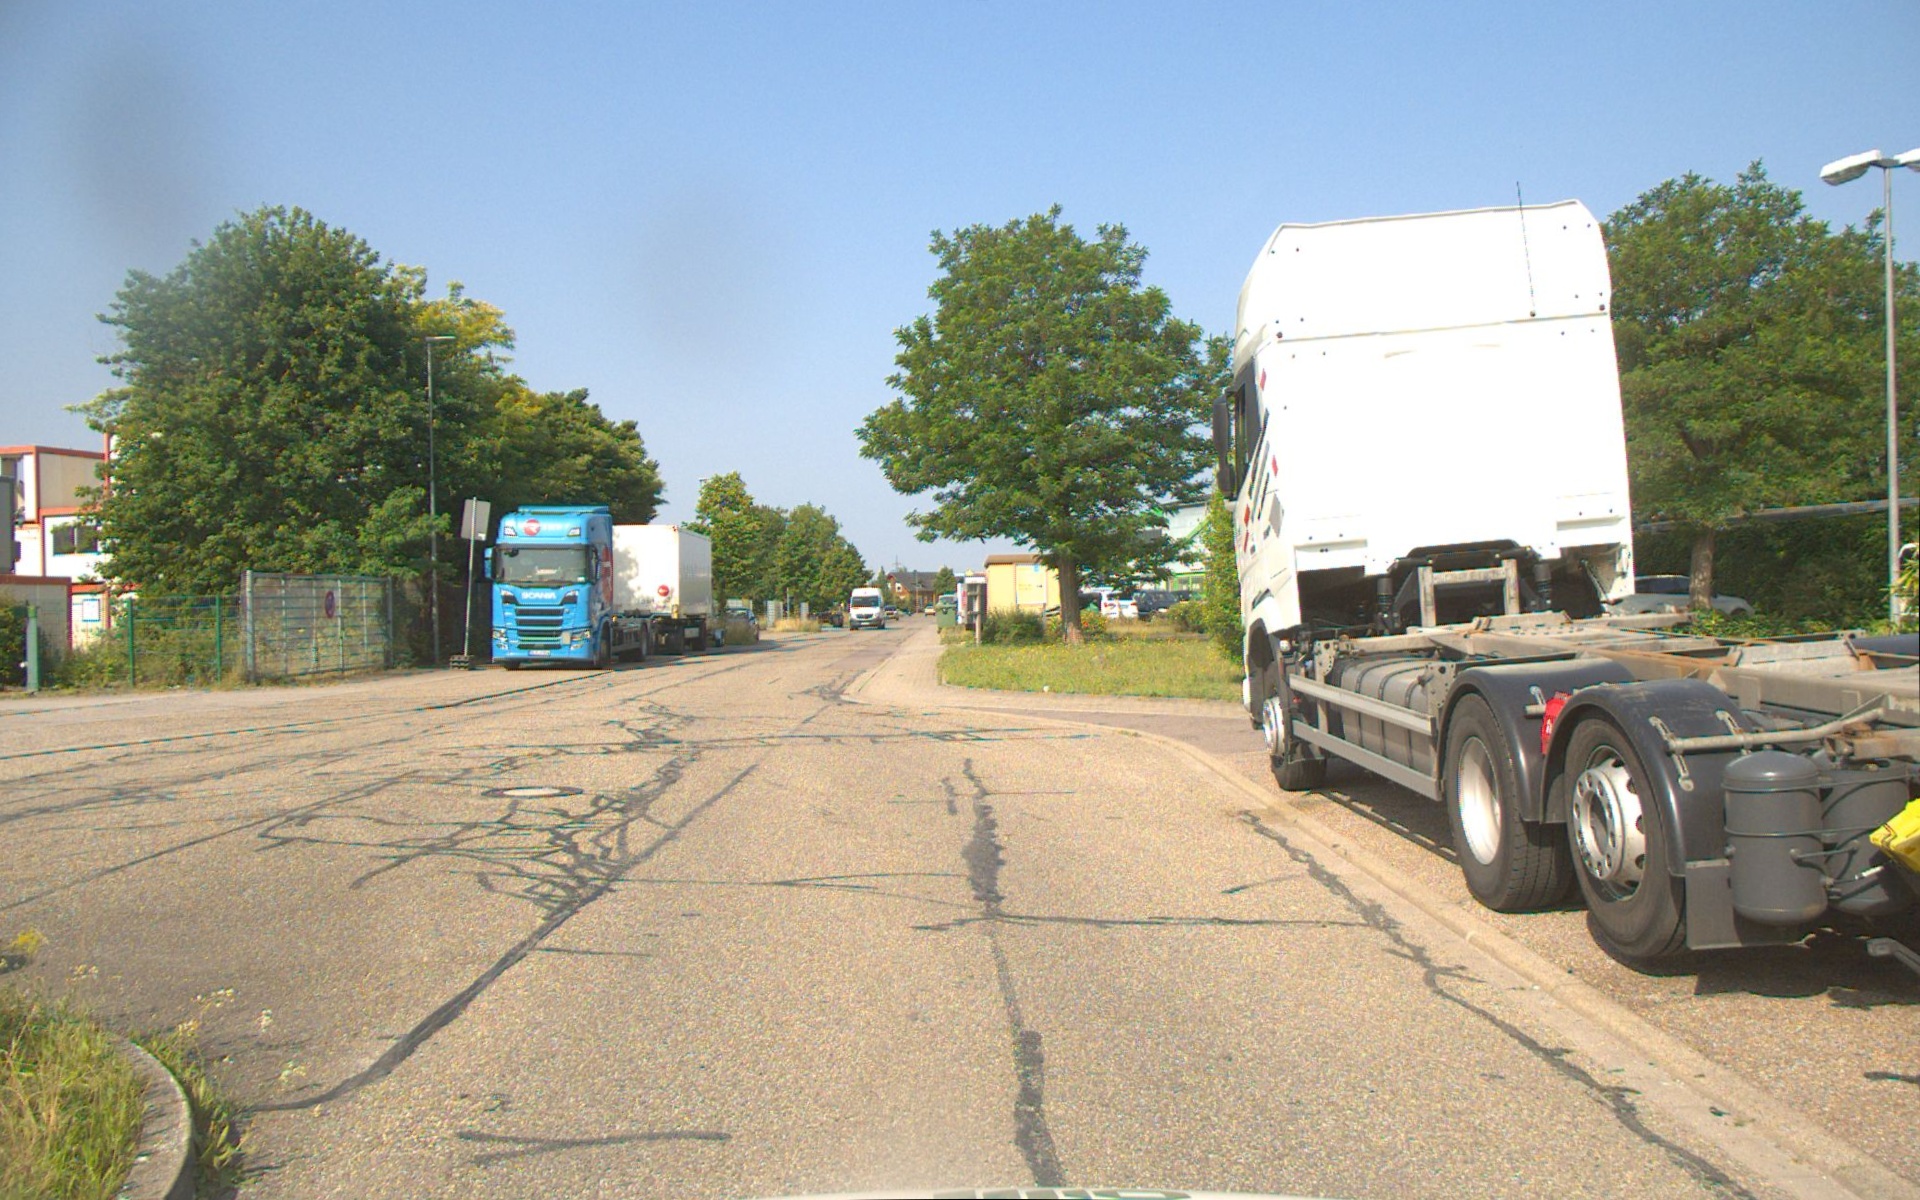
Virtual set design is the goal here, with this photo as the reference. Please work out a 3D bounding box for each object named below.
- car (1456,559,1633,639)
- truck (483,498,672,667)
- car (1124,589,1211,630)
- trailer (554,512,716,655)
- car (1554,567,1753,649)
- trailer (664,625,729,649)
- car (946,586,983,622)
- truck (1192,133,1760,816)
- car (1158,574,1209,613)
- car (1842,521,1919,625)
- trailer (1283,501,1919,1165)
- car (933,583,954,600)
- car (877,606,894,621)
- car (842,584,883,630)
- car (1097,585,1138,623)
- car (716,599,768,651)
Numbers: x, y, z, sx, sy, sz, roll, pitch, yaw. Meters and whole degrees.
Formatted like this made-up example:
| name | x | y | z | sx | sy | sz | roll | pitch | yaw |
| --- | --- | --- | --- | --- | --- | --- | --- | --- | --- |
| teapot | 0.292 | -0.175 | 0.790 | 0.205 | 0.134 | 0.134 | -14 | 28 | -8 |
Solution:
| name | x | y | z | sx | sy | sz | roll | pitch | yaw |
| --- | --- | --- | --- | --- | --- | --- | --- | --- | --- |
| car | 13.999 | 0.017 | 39.592 | 3.947 | 1.798 | 1.978 | 1 | -1 | -32 |
| truck | -9.689 | -0.316 | 43.112 | 2.768 | 3.893 | 9.670 | 0 | -1 | -1 |
| car | 7.000 | 0.342 | 56.068 | 1.641 | 1.353 | 3.646 | 1 | -1 | -17 |
| trailer | -9.798 | -0.328 | 51.419 | 2.773 | 3.910 | 12.033 | 0 | -1 | -1 |
| car | 15.332 | 0.214 | 36.598 | 4.017 | 1.731 | 1.754 | 1 | -1 | -22 |
| trailer | -9.722 | 1.364 | 61.271 | 1.858 | 0.774 | 3.999 | -1 | 0 | -1 |
| car | 0.214 | 0.226 | 83.522 | 1.756 | 1.780 | 3.998 | 0 | -1 | -1 |
| truck | 3.482 | -0.782 | 12.261 | 2.690 | 4.050 | 4.000 | -4 | 0 | 0 |
| car | 9.975 | -0.276 | 74.048 | 1.755 | 1.669 | 4.000 | 0 | -1 | 0 |
| car | 17.864 | -0.424 | 29.168 | 3.922 | 1.736 | 1.817 | 1 | -1 | -16 |
| trailer | 3.619 | 0.477 | 3.195 | 2.690 | 1.601 | 16.170 | -4 | 0 | 0 |
| car | -1.892 | -0.971 | 185.316 | 1.739 | 1.847 | 3.990 | 1 | -1 | -10 |
| car | -8.305 | 1.500 | 184.409 | 1.608 | 1.691 | 3.994 | 0 | -1 | -6 |
| car | -6.145 | 0.476 | 103.560 | 2.172 | 2.733 | 6.842 | 0 | -1 | -7 |
| car | 7.152 | 0.223 | 75.315 | 1.681 | 1.646 | 4.001 | 0 | -1 | 3 |
| car | -9.125 | 1.023 | 69.043 | 1.957 | 2.049 | 3.990 | -1 | 0 | -10 |
